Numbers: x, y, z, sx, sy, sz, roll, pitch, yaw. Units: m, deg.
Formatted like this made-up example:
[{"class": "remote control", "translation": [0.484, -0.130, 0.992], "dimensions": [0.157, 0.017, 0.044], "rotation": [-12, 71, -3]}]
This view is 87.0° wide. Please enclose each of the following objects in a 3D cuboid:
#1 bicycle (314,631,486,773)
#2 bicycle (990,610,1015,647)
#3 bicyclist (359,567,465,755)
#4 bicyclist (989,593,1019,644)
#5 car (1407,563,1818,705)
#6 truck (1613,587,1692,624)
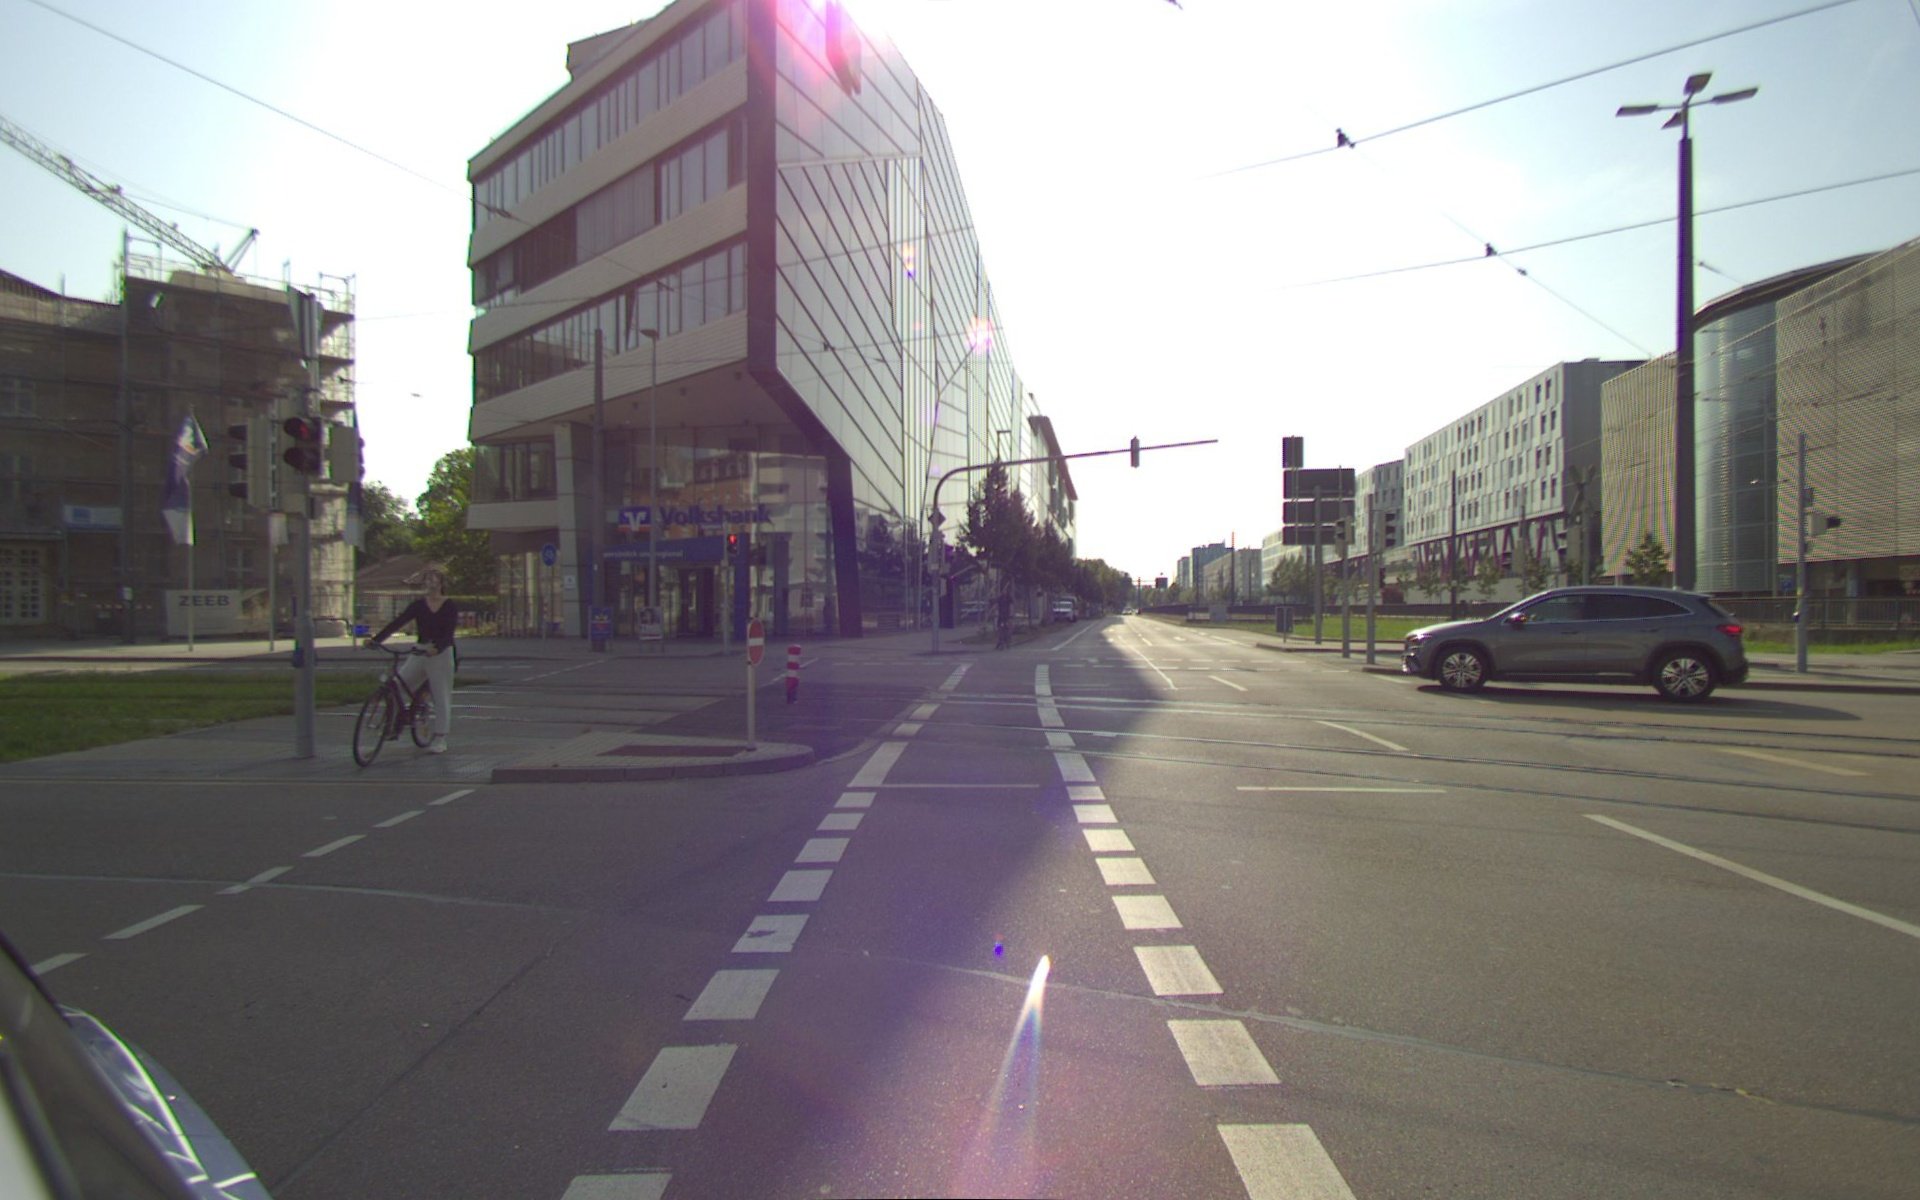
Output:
[{"class": "bicycle", "translation": [-5.154, 0.891, 9.452], "dimensions": [0.660, 1.106, 1.806], "rotation": [0, 1, -2]}, {"class": "bicycle", "translation": [1.367, 0.891, 32.106], "dimensions": [0.415, 1.064, 1.951], "rotation": [0, 1, 14]}, {"class": "bicyclist", "translation": [-5.151, 0.548, 9.544], "dimensions": [0.660, 1.715, 0.637], "rotation": [0, 1, -2]}, {"class": "bicyclist", "translation": [1.389, 0.575, 32.083], "dimensions": [0.776, 1.598, 0.928], "rotation": [0, 1, 14]}, {"class": "car", "translation": [9.324, 0.396, 14.921], "dimensions": [4.799, 1.796, 1.935], "rotation": [1, 1, 32]}, {"class": "truck", "translation": [44.871, 0.372, 65.710], "dimensions": [2.179, 2.339, 4.546], "rotation": [-1, 0, 3]}]
